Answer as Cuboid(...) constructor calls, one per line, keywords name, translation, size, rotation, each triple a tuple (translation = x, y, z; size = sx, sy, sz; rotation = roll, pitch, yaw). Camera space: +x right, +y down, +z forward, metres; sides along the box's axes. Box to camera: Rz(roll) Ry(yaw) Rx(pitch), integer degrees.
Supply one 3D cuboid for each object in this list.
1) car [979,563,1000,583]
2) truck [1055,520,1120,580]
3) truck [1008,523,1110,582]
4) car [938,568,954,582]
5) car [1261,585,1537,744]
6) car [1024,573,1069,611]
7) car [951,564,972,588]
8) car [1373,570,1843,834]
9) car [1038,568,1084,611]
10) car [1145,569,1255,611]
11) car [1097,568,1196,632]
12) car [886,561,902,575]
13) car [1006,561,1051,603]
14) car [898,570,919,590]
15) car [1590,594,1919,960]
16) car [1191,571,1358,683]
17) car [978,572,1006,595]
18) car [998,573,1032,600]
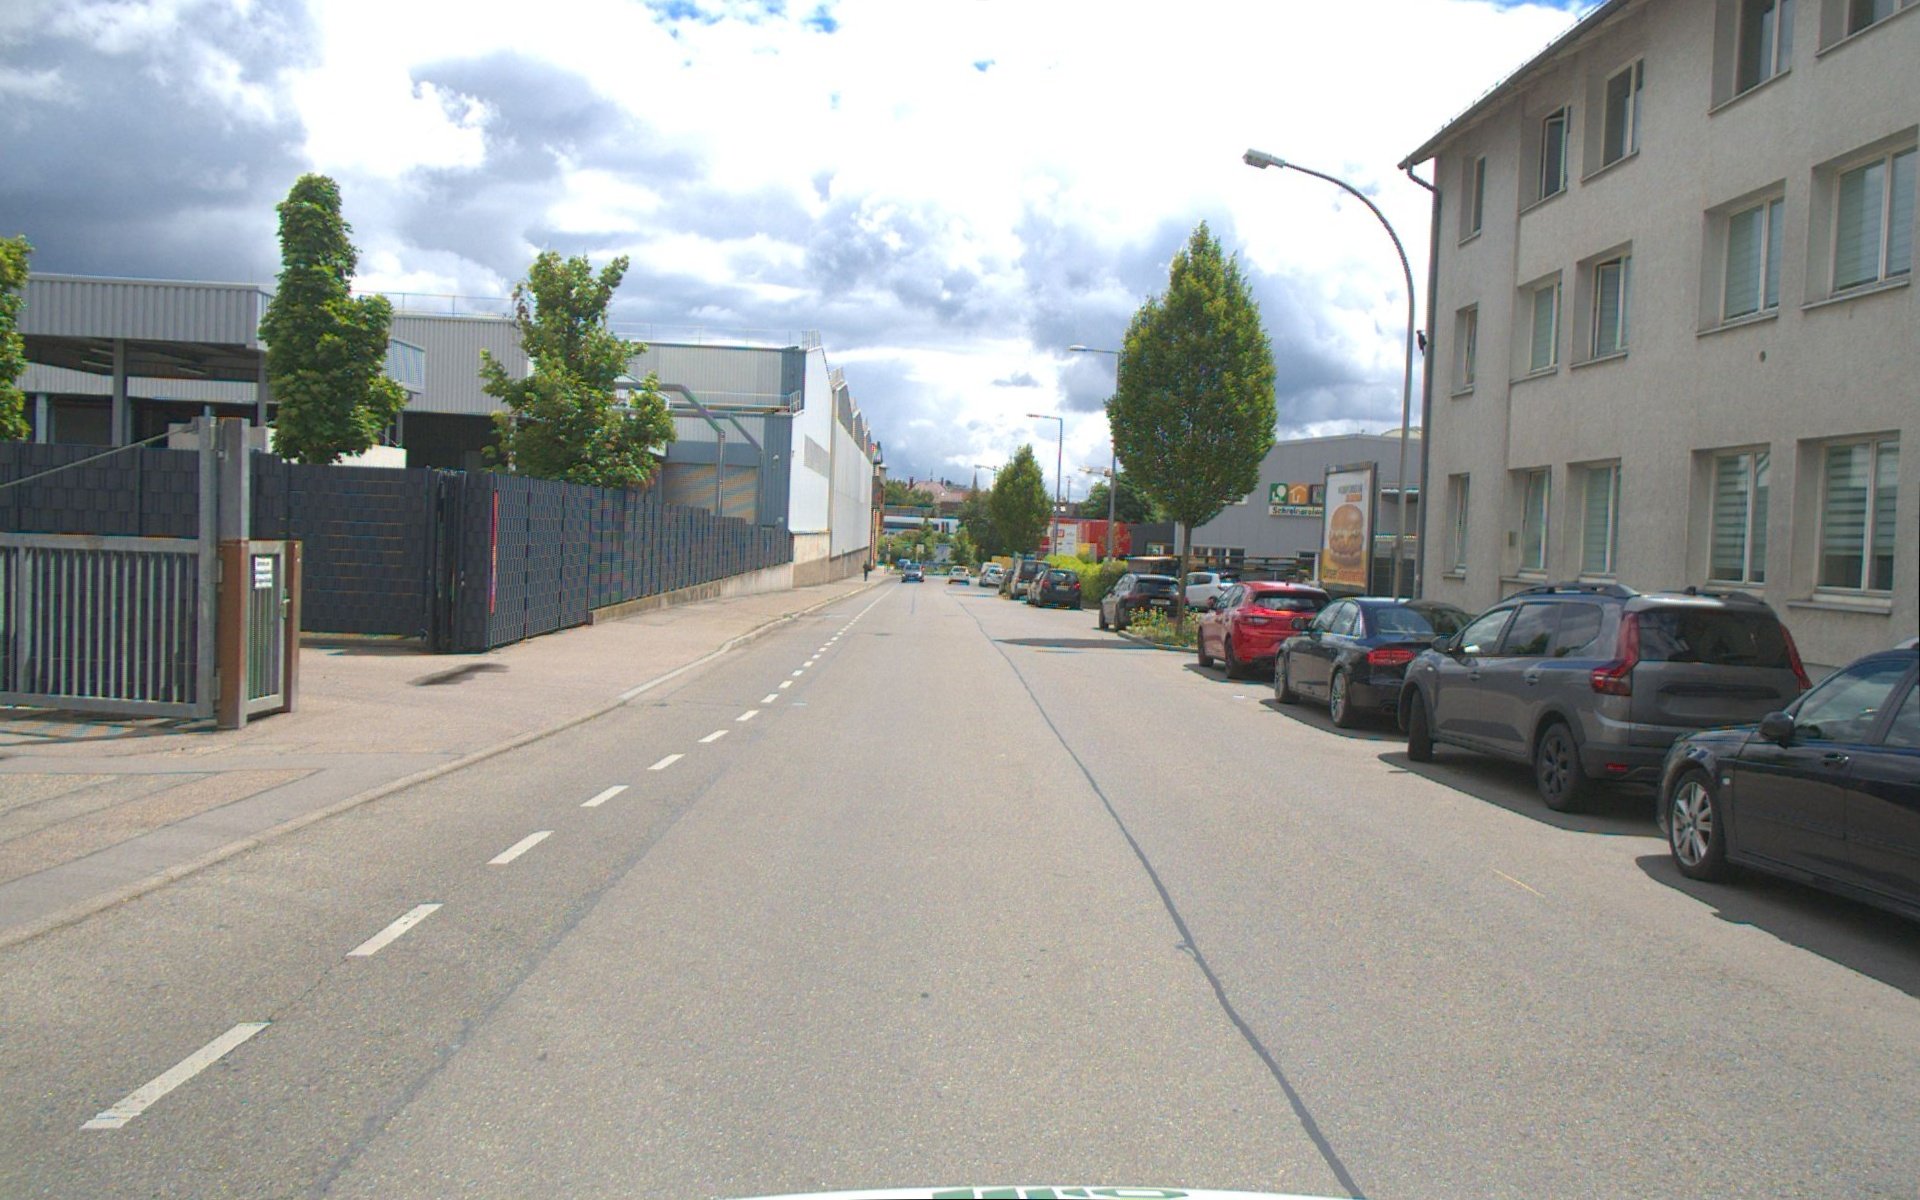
Cuboid(name="car", translation=(2.456, -2.250, 138.578), size=(1.666, 1.554, 3.738), rotation=(2, 1, 0))
Cuboid(name="truck", translation=(10.332, -4.033, 135.005), size=(2.532, 4.527, 7.827), rotation=(2, -1, -16))
Cuboid(name="truck", translation=(8.480, -4.096, 141.880), size=(8.275, 4.752, 2.583), rotation=(2, -1, 20))
Cuboid(name="car", translation=(-1.762, -3.123, 206.117), size=(1.815, 1.512, 3.998), rotation=(2, -1, -2))
Cuboid(name="car", translation=(4.928, 0.636, 19.308), size=(1.700, 1.448, 4.859), rotation=(3, 2, -2))
Cuboid(name="car", translation=(3.825, -0.362, 73.827), size=(1.622, 1.567, 4.733), rotation=(2, 1, -2))
Cuboid(name="car", translation=(0.110, -1.946, 135.351), size=(1.535, 1.817, 3.604), rotation=(2, -1, -2))
Cuboid(name="car", translation=(5.111, 0.675, 13.887), size=(1.644, 1.666, 4.792), rotation=(4, 2, -5))
Cuboid(name="car", translation=(4.165, -0.440, 68.601), size=(1.645, 1.666, 4.123), rotation=(2, 1, 0))
Cuboid(name="car", translation=(9.019, -0.385, 62.488), size=(1.709, 1.488, 4.017), rotation=(-2, 1, -39))
Cuboid(name="car", translation=(4.690, -0.022, 42.196), size=(1.755, 1.491, 4.706), rotation=(2, 0, -3))
Cuboid(name="car", translation=(-7.707, -3.744, 194.610), size=(1.815, 1.512, 3.998), rotation=(2, -1, -2))
Cuboid(name="car", translation=(3.430, -0.908, 83.775), size=(1.831, 2.025, 5.142), rotation=(2, 1, -2))
Cuboid(name="car", translation=(-4.379, -1.703, 139.806), size=(1.684, 1.583, 4.286), rotation=(-1, 0, -2))
Cuboid(name="car", translation=(5.106, 0.863, 8.318), size=(1.670, 1.536, 5.086), rotation=(4, 2, -2))
Cuboid(name="car", translation=(4.857, 0.356, 26.103), size=(1.700, 1.498, 4.261), rotation=(2, 2, -1))
Cuboid(name="car", translation=(2.430, -1.302, 127.837), size=(1.668, 1.554, 3.734), rotation=(5, 1, -5))
Cuboid(name="car", translation=(3.202, -0.784, 97.427), size=(1.679, 1.499, 4.510), rotation=(2, 1, -2))
